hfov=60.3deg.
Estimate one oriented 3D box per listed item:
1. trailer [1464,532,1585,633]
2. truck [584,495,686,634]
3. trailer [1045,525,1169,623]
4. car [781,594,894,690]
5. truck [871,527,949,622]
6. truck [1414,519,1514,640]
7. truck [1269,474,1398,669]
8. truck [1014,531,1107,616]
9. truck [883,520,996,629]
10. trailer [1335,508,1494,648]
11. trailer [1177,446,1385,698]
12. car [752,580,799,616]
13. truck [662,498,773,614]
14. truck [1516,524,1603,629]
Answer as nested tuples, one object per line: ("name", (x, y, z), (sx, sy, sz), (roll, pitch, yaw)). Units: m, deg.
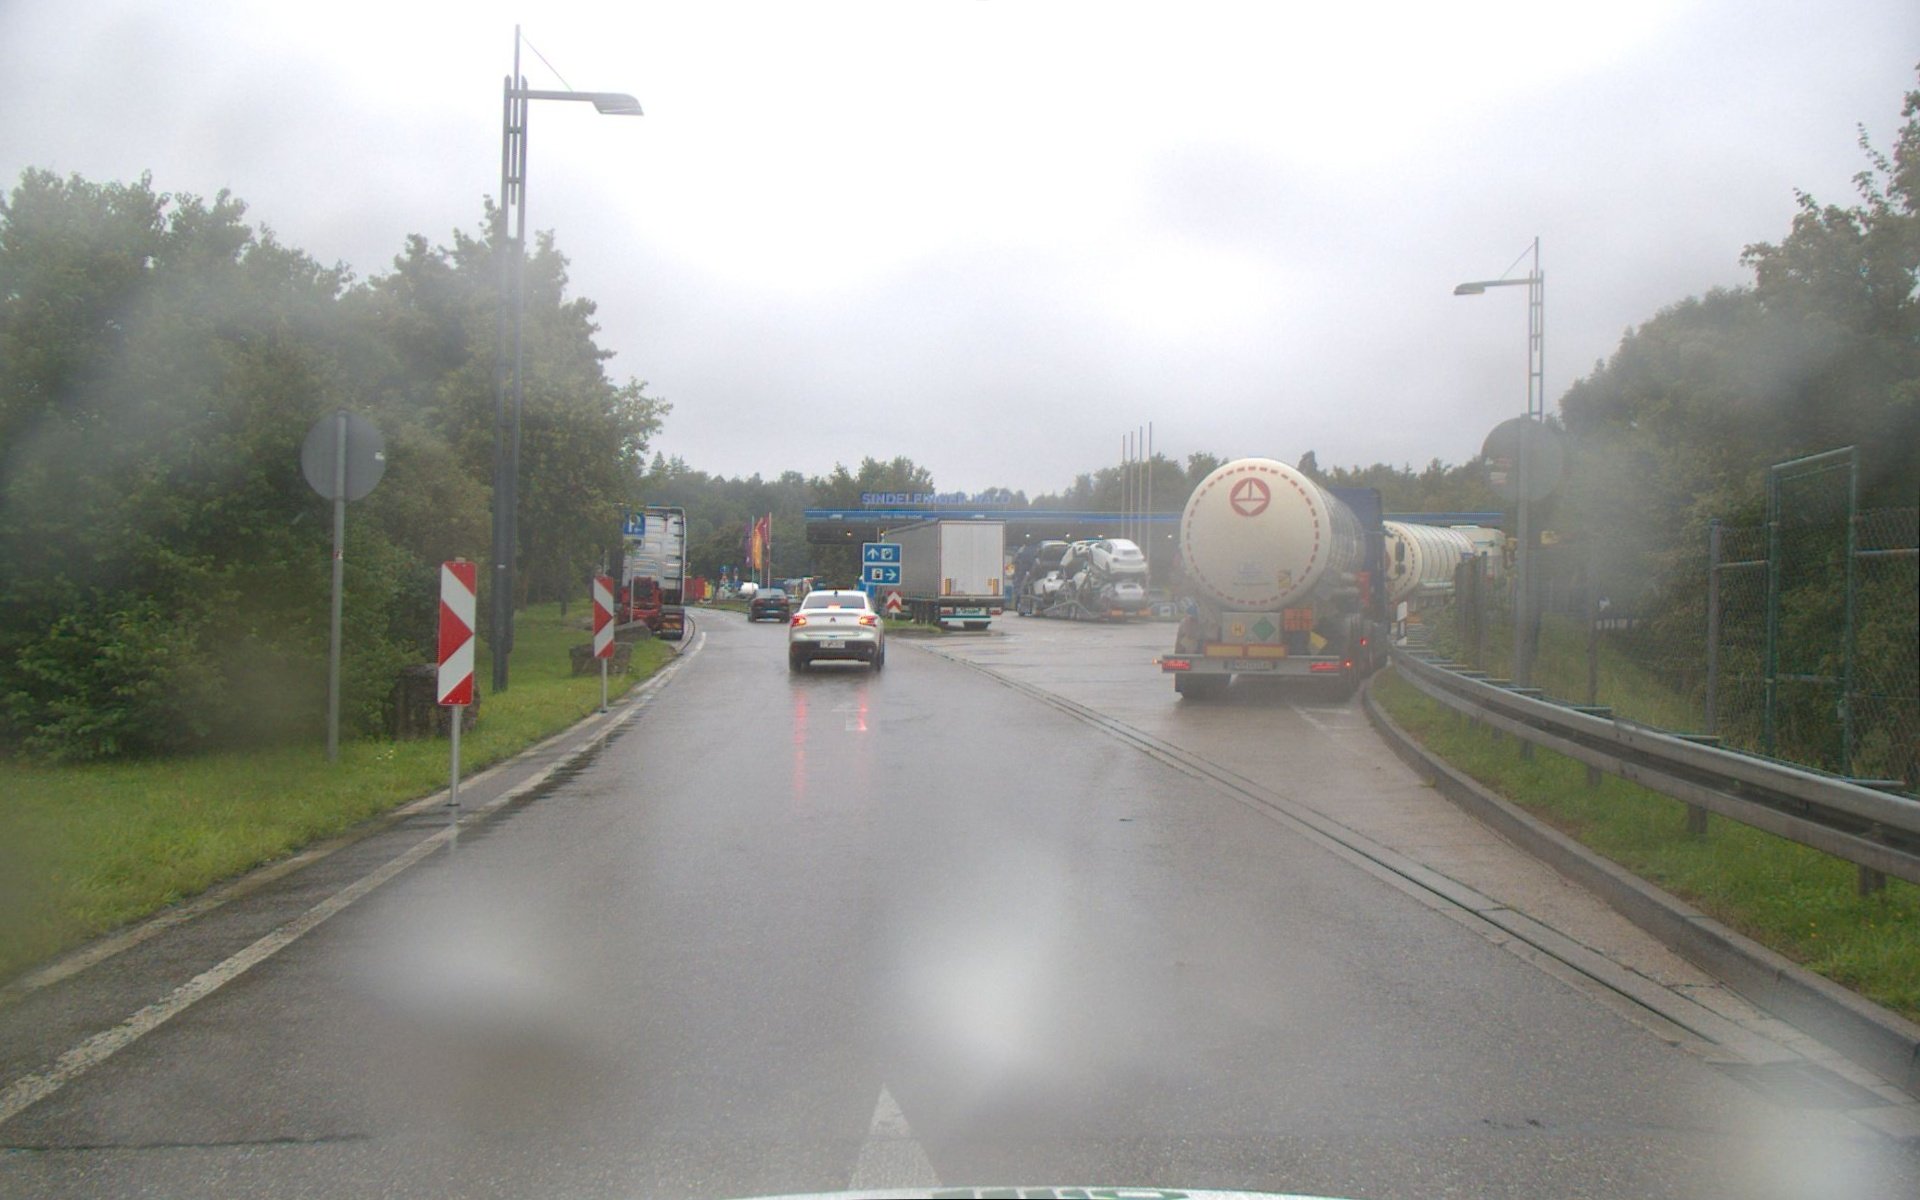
("trailer", (20.604, -0.630, 60.087), (2.145, 3.451, 7.537), (0, 0, 35))
("truck", (-9.939, -1.047, 50.852), (2.863, 3.972, 6.300), (0, 0, -11))
("trailer", (6.784, -1.214, 78.612), (3.156, 4.262, 11.506), (1, 1, -9))
("car", (-2.320, 0.811, 32.257), (1.953, 1.709, 3.998), (2, -1, -2))
("truck", (-2.265, -1.097, 72.372), (2.328, 3.941, 6.993), (0, 1, -11))
("truck", (15.799, -0.622, 51.668), (2.105, 3.574, 4.639), (0, 0, 29))
("truck", (7.543, -0.532, 33.041), (2.010, 3.593, 4.748), (1, 0, 19))
("truck", (5.251, -1.398, 88.461), (3.174, 4.261, 8.426), (1, 1, -9))
("truck", (-1.002, -1.001, 65.936), (2.328, 3.941, 12.421), (0, 1, -11))
("trailer", (12.914, -0.571, 46.256), (2.090, 3.501, 10.238), (0, 0, 28))
("trailer", (5.483, -0.381, 26.732), (1.939, 3.281, 10.325), (1, 0, 18))
("car", (-8.075, -0.098, 72.573), (1.841, 1.487, 3.997), (1, 0, -4))
("truck", (-12.328, -2.106, 82.991), (4.708, 5.398, 11.035), (0, 1, -13))
("truck", (23.076, -0.885, 63.626), (2.144, 3.895, 4.127), (0, 0, 35))
